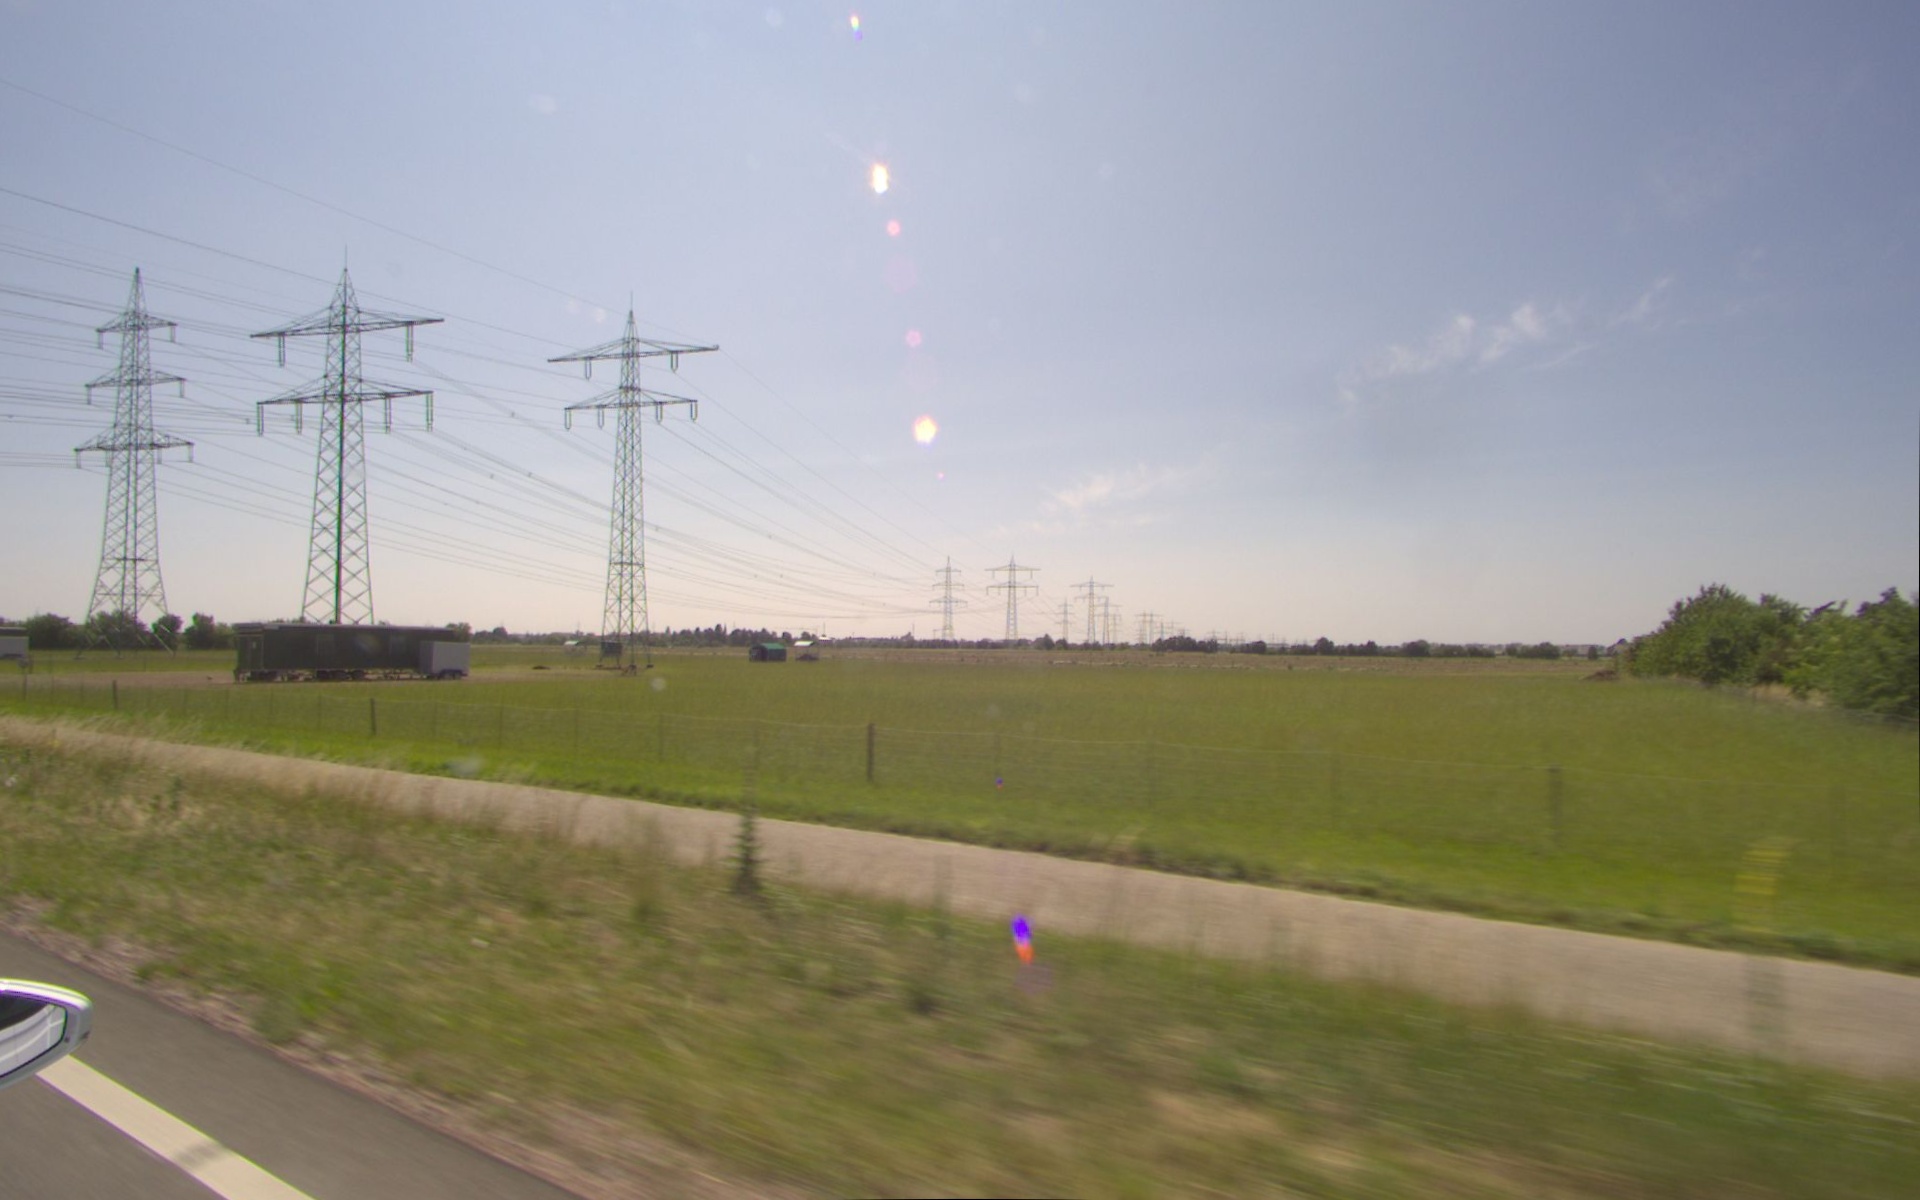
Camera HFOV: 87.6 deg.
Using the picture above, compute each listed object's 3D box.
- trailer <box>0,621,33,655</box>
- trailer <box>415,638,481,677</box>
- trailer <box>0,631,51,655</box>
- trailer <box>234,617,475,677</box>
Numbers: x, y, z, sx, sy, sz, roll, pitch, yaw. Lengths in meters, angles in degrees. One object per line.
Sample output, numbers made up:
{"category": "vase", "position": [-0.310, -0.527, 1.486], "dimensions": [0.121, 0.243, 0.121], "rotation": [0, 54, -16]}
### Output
{"category": "trailer", "position": [-104.386, 3.839, 103.234], "dimensions": [3.746, 3.516, 12.409], "rotation": [0, -3, 28]}
{"category": "trailer", "position": [-34.240, 3.830, 67.030], "dimensions": [2.007, 2.493, 3.405], "rotation": [0, -2, 30]}
{"category": "trailer", "position": [-99.381, 4.523, 106.175], "dimensions": [1.968, 2.473, 3.988], "rotation": [0, -2, 26]}
{"category": "trailer", "position": [-38.628, 3.048, 64.891], "dimensions": [3.227, 3.518, 13.501], "rotation": [0, -3, 29]}
